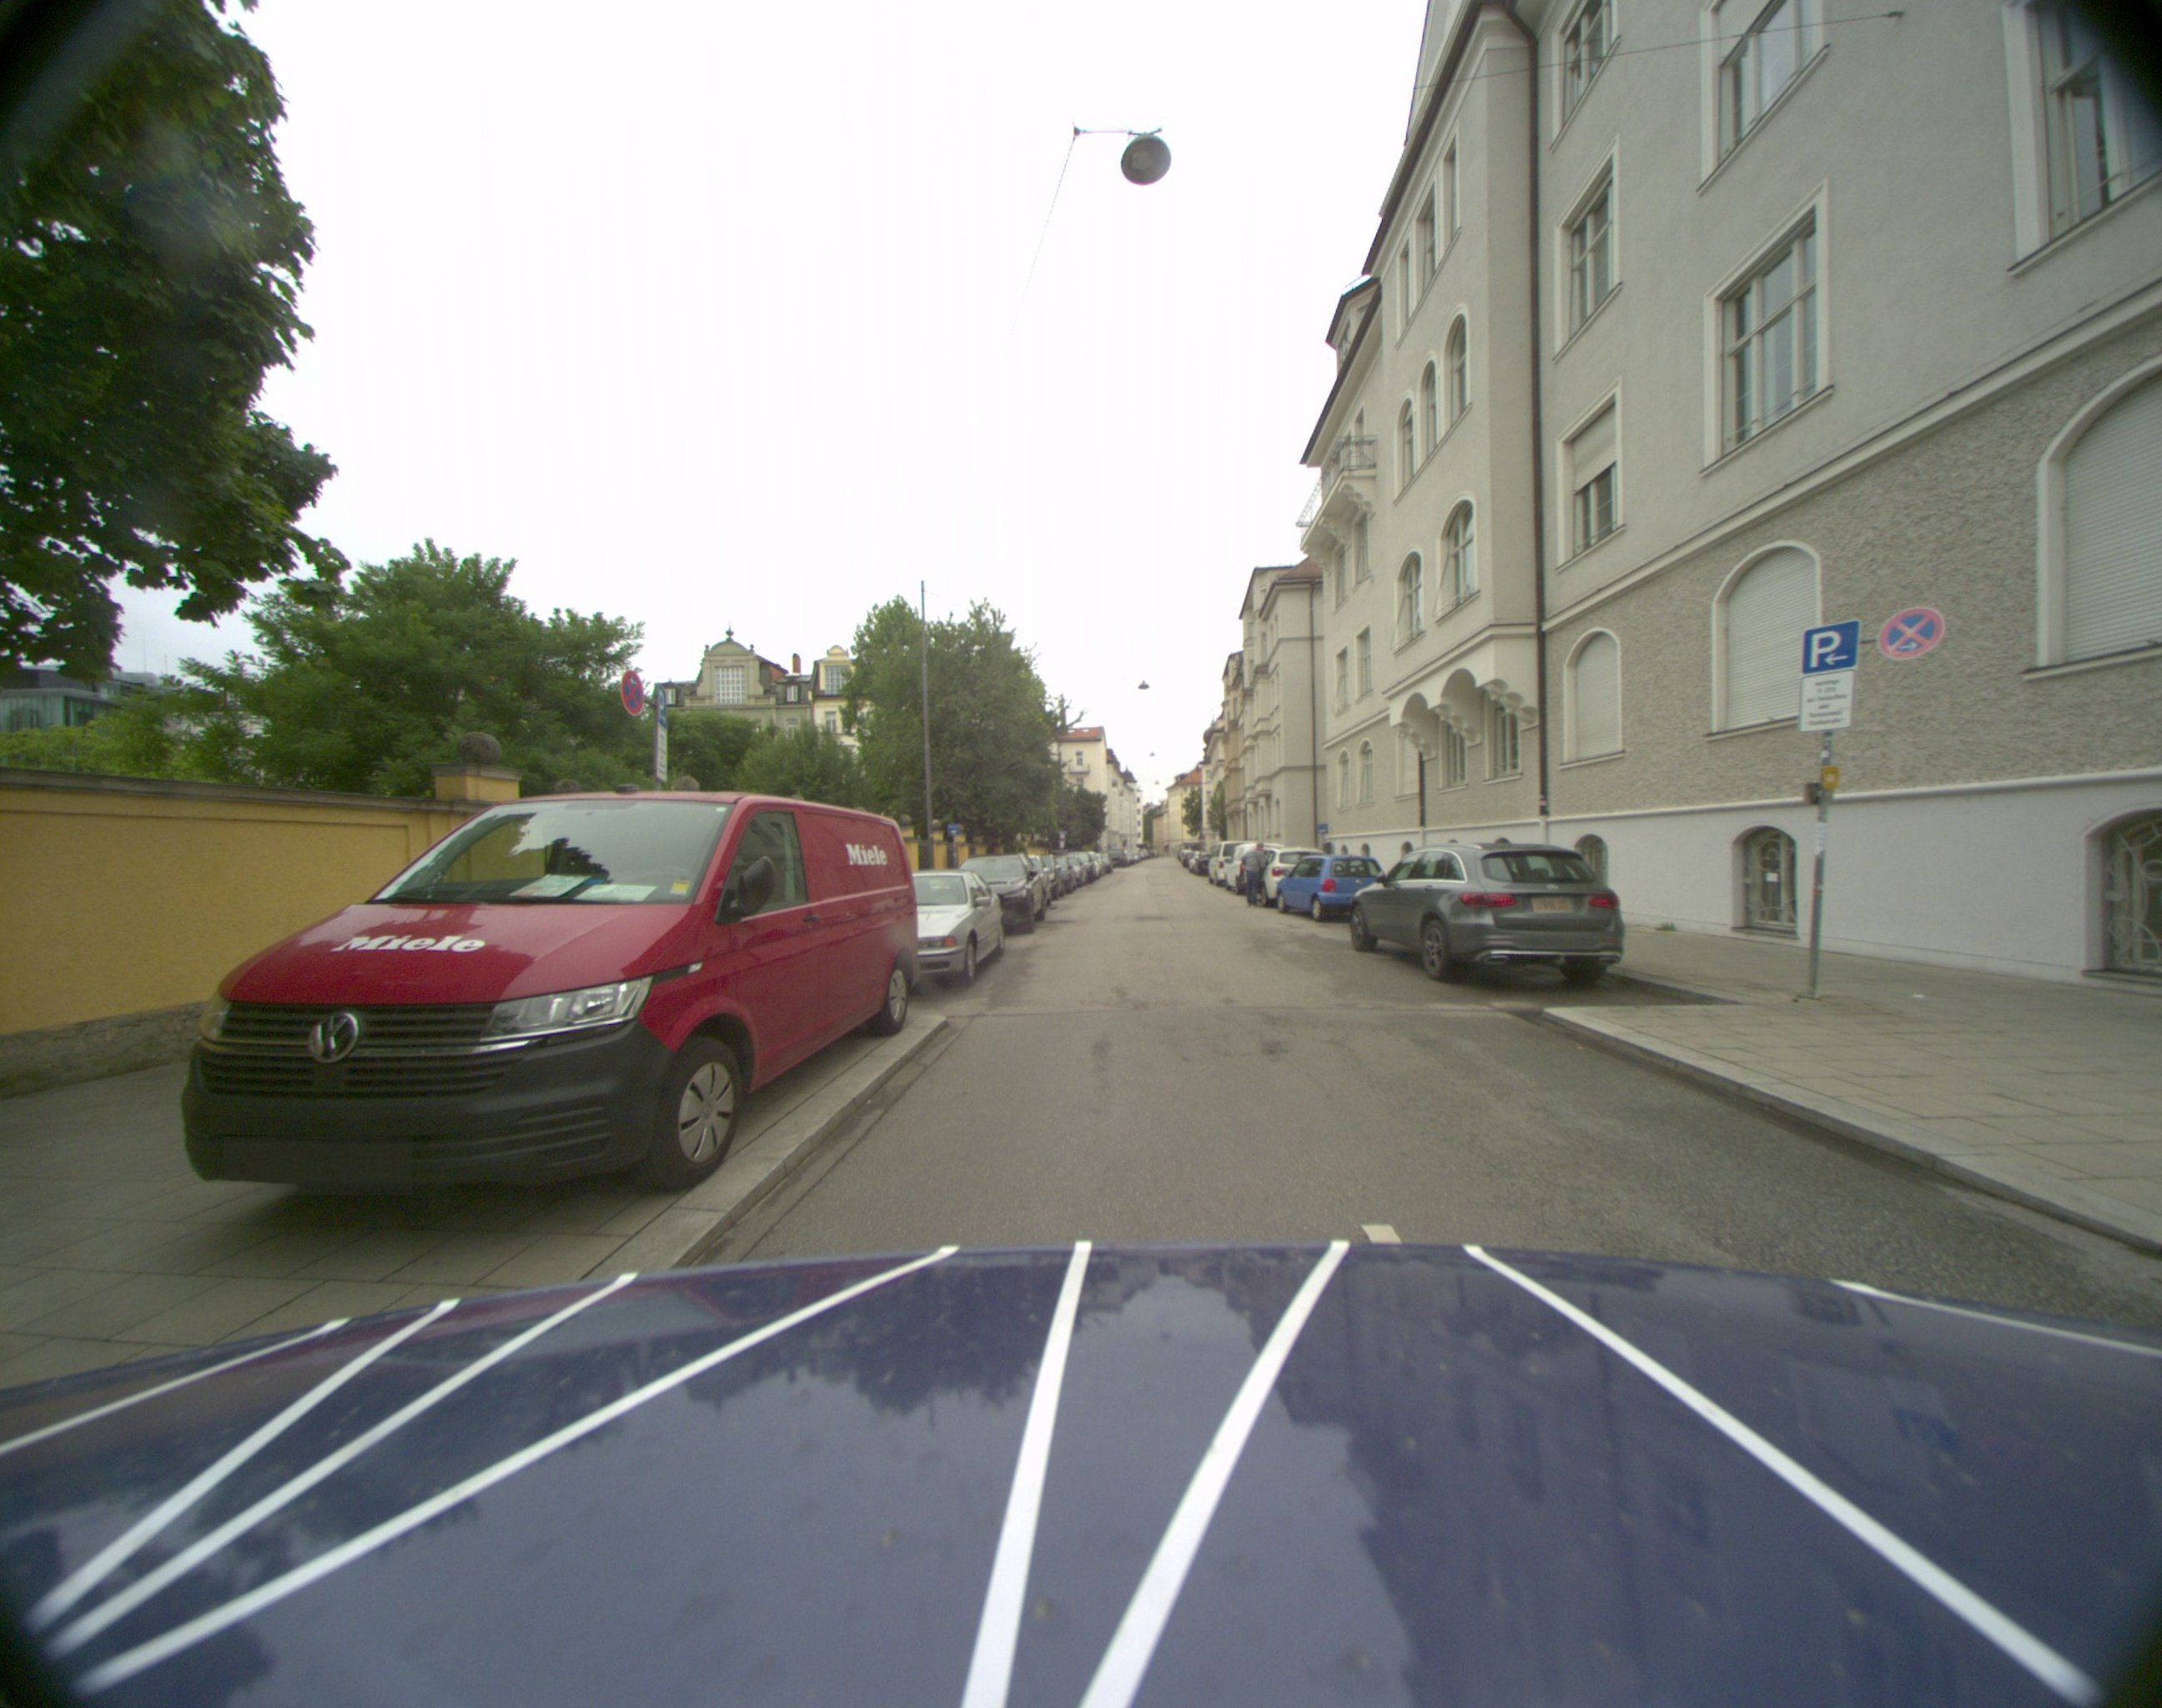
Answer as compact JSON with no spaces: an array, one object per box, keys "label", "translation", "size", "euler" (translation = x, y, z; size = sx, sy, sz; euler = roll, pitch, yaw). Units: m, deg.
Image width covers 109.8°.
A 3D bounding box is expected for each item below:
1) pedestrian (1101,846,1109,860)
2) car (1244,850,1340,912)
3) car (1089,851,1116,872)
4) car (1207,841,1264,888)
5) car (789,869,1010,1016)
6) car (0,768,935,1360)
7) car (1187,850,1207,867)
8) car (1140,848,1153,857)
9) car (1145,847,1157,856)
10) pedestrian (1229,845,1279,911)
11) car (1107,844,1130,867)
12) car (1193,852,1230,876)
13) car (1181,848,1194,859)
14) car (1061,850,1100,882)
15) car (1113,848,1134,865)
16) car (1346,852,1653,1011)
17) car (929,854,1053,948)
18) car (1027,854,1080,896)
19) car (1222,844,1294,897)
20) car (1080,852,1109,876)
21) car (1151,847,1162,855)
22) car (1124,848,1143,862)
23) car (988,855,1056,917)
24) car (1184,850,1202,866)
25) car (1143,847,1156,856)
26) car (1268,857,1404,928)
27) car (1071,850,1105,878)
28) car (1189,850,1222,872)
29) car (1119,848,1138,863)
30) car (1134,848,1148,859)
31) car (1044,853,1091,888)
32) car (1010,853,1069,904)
[{"label":"pedestrian","translation":[3.033,-0.088,94.480],"size":[0.875,1.680,1.052],"euler":[-1,1,5]},{"label":"car","translation":[5.958,0.689,21.990],"size":[1.751,1.593,4.497],"euler":[0,1,3]},{"label":"car","translation":[1.615,0.502,55.721],"size":[1.716,1.445,4.956],"euler":[-1,1,4]},{"label":"car","translation":[6.822,0.409,34.073],"size":[1.860,1.927,4.958],"euler":[0,1,4]},{"label":"car","translation":[-2.236,1.036,10.682],"size":[1.889,1.440,4.369],"euler":[-3,0,1]},{"label":"car","translation":[-2.533,0.698,4.948],"size":[1.878,1.909,4.888],"euler":[-3,0,3]},{"label":"car","translation":[10.314,0.366,67.697],"size":[1.626,1.448,3.943],"euler":[0,1,7]},{"label":"car","translation":[12.575,-0.342,145.459],"size":[1.997,1.585,4.301],"euler":[-4,0,8]},{"label":"car","translation":[14.425,-0.488,155.891],"size":[1.997,1.585,4.430],"euler":[-4,0,9]},{"label":"pedestrian","translation":[4.726,0.643,20.816],"size":[0.965,1.745,0.875],"euler":[-2,1,-24]},{"label":"car","translation":[3.666,0.144,73.434],"size":[1.998,1.949,4.434],"euler":[-4,0,4]},{"label":"car","translation":[8.103,0.601,47.548],"size":[1.860,1.404,4.380],"euler":[1,1,4]},{"label":"car","translation":[14.445,-0.077,103.066],"size":[1.626,1.522,3.691],"euler":[0,1,6]},{"label":"car","translation":[0.022,0.605,41.032],"size":[1.716,1.561,4.692],"euler":[-1,1,4]},{"label":"car","translation":[4.707,0.278,83.572],"size":[1.998,1.643,4.450],"euler":[-4,0,5]},{"label":"car","translation":[5.058,0.787,10.028],"size":[1.751,1.593,4.497],"euler":[0,1,3]},{"label":"car","translation":[-1.795,0.885,16.763],"size":[1.889,1.643,4.824],"euler":[-3,0,2]},{"label":"car","translation":[-1.016,0.788,30.057],"size":[1.696,1.406,4.037],"euler":[-3,0,3]},{"label":"car","translation":[6.383,0.518,27.927],"size":[1.750,1.778,5.037],"euler":[0,1,4]},{"label":"car","translation":[0.944,0.642,51.014],"size":[1.716,1.445,4.185],"euler":[-1,1,4]},{"label":"car","translation":[16.836,-0.737,169.448],"size":[1.997,1.585,4.302],"euler":[-4,0,13]},{"label":"car","translation":[6.970,0.145,100.602],"size":[1.997,1.585,4.301],"euler":[-4,0,8]},{"label":"car","translation":[-1.595,0.837,21.644],"size":[1.488,1.530,3.692],"euler":[-3,0,1]},{"label":"car","translation":[10.760,0.350,73.184],"size":[1.626,1.421,3.943],"euler":[0,1,8]},{"label":"car","translation":[13.597,-0.435,150.513],"size":[1.997,1.672,4.301],"euler":[-4,0,9]},{"label":"car","translation":[5.702,0.798,17.463],"size":[1.696,1.406,3.661],"euler":[0,1,-3]},{"label":"car","translation":[0.459,0.549,46.125],"size":[1.716,1.561,4.321],"euler":[-1,1,4]},{"label":"car","translation":[8.582,0.473,52.584],"size":[1.860,1.455,4.380],"euler":[0,1,4]},{"label":"car","translation":[5.519,0.156,88.472],"size":[1.998,1.585,4.300],"euler":[-4,0,5]},{"label":"car","translation":[9.944,-0.061,125.293],"size":[1.997,1.585,4.301],"euler":[-4,0,8]},{"label":"car","translation":[-0.550,0.712,35.024],"size":[1.695,1.406,4.517],"euler":[-1,1,5]},{"label":"car","translation":[-1.365,0.783,26.070],"size":[1.511,1.557,2.870],"euler":[-3,1,5]}]
